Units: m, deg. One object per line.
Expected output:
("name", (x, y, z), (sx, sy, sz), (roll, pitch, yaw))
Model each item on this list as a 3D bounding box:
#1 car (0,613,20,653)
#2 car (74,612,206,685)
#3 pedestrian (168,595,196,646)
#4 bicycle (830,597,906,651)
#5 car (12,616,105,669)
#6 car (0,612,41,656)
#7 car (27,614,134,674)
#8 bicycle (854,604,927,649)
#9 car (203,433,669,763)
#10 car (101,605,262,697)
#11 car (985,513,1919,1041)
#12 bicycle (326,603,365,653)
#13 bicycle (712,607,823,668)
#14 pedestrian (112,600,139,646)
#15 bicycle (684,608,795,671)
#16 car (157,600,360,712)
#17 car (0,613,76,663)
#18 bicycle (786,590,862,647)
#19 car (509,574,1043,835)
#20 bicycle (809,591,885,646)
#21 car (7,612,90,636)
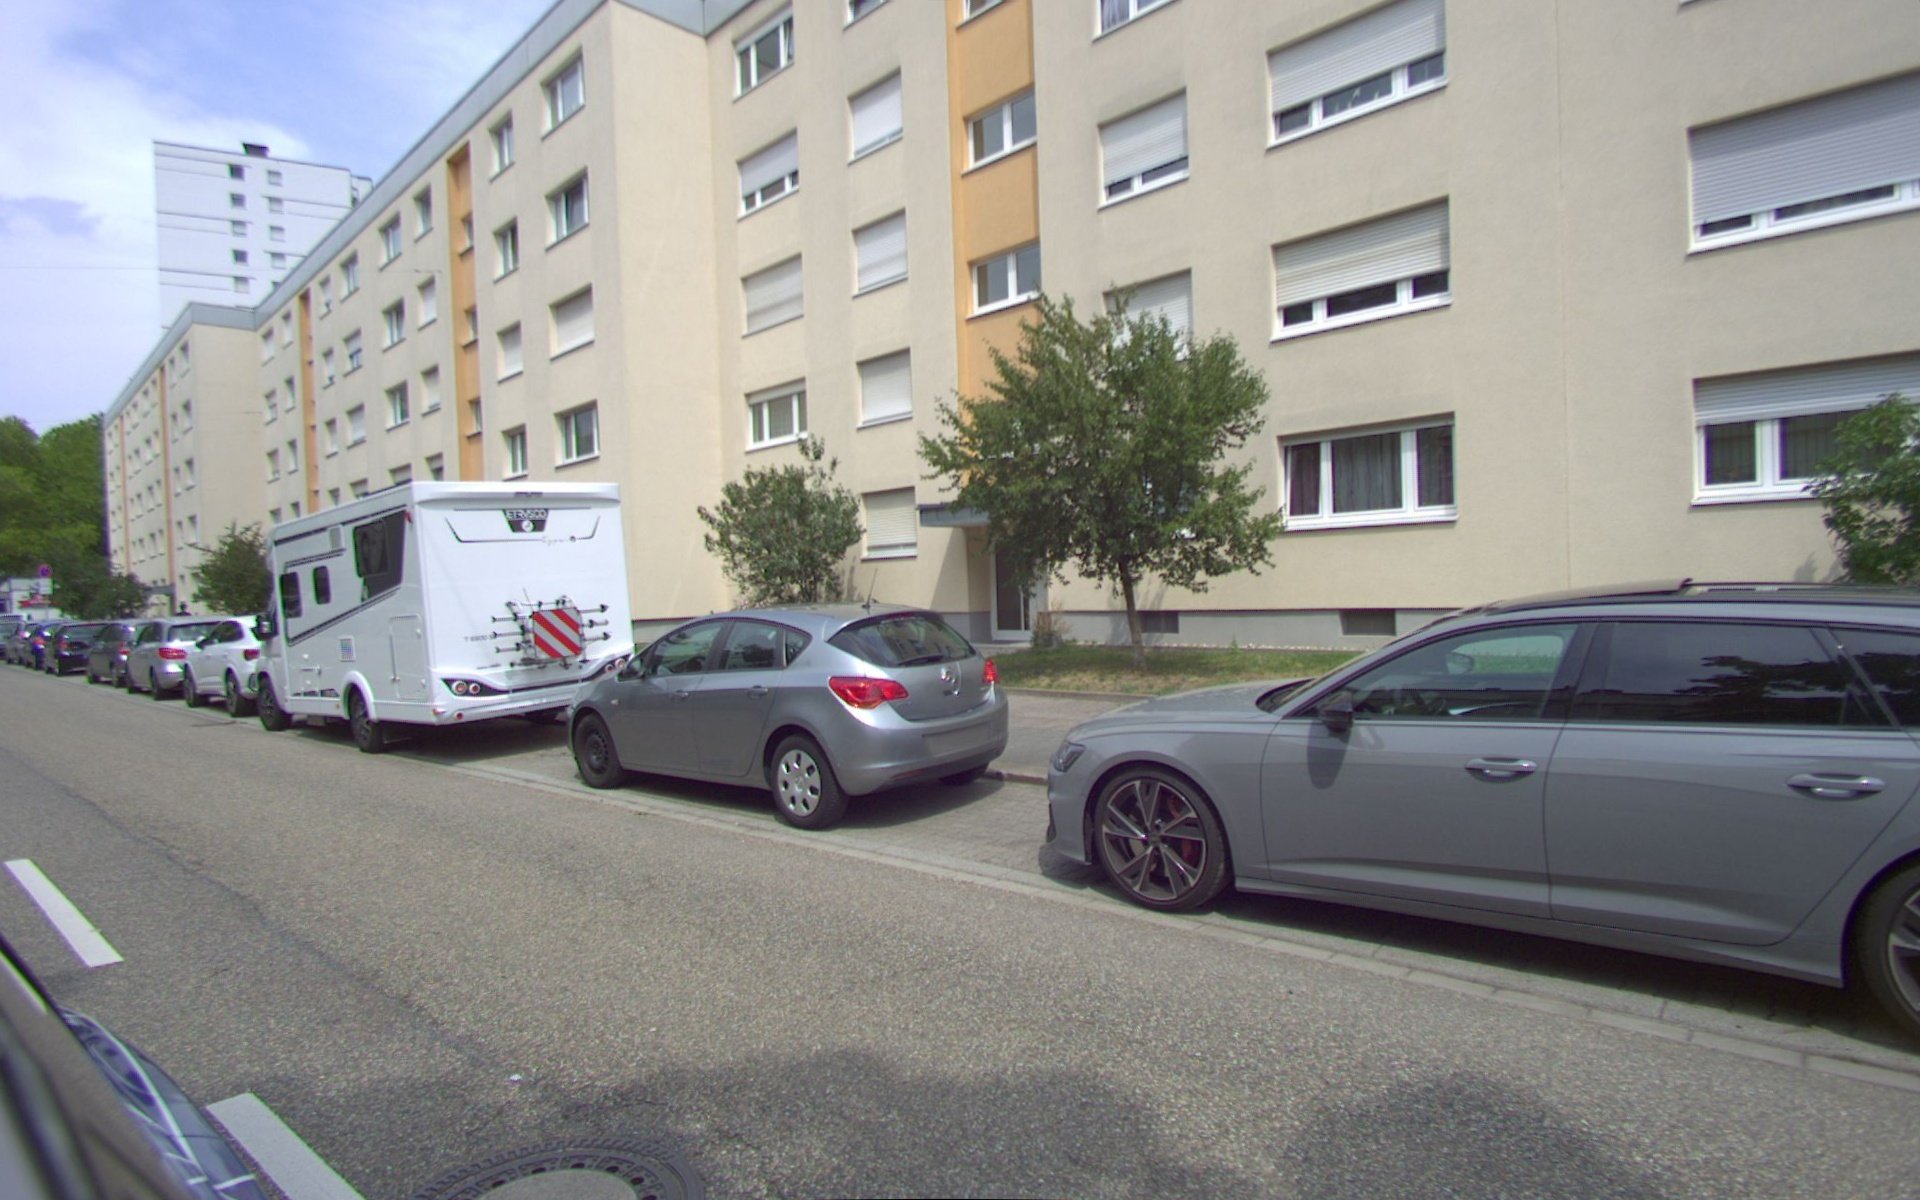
("car", (-42.363, 1.460, 43.898), (4.861, 1.624, 1.921), (-1, 2, 43))
("car", (-19.680, 1.147, 24.240), (4.001, 1.551, 1.705), (-3, 0, 40))
("pedestrian", (-28.341, 0.746, 36.876), (0.803, 1.826, 0.613), (-1, 0, 39))
("bicycle", (-1.768, 0.460, 19.268), (1.685, 0.986, 0.392), (-3, 0, 44))
("car", (-28.584, 1.305, 32.069), (3.885, 1.494, 1.798), (-1, 2, 43))
("car", (-38.248, 1.372, 40.312), (4.300, 1.624, 1.922), (-1, 2, 42))
("car", (-25.001, 1.201, 28.733), (4.115, 1.494, 1.799), (-1, 2, 43))
("bicycle", (-1.369, 0.524, 19.693), (1.686, 0.831, 0.392), (-3, 0, 45))
("car", (-6.899, -0.003, 12.697), (7.391, 3.046, 2.485), (-1, 2, 41))
("car", (-15.988, 0.977, 20.698), (4.566, 1.591, 1.736), (-1, 2, 42))
("car", (2.748, 0.508, 4.349), (5.214, 1.591, 1.867), (-1, 2, 40))
("bicycle", (-18.251, 0.842, 30.021), (0.457, 1.404, 2.131), (-2, 0, -45))
("bicycle", (-3.375, 0.662, 17.571), (2.444, 0.988, 0.448), (-3, 0, 42))
("pedestrian", (-34.303, 0.948, 41.590), (0.898, 1.826, 0.613), (-1, 1, 39))
("bicycle", (-3.763, 0.677, 17.133), (2.444, 0.988, 0.448), (-3, 0, 42))
("car", (-11.965, 0.873, 17.141), (4.591, 1.591, 1.671), (-1, 2, 41))
("car", (-32.523, 1.310, 35.511), (3.848, 1.573, 1.653), (-1, 2, 40))
("bicycle", (-2.498, 0.354, 18.415), (1.678, 0.986, 0.392), (-3, 0, 44))
("car", (-1.706, 0.650, 8.167), (4.591, 1.507, 1.671), (-1, 2, 41))
("bicycle", (-2.125, 0.357, 18.876), (1.685, 0.986, 0.392), (-3, 0, 44))
("car", (-68.837, 1.771, 76.498), (4.576, 1.699, 1.851), (-1, -1, -43))
